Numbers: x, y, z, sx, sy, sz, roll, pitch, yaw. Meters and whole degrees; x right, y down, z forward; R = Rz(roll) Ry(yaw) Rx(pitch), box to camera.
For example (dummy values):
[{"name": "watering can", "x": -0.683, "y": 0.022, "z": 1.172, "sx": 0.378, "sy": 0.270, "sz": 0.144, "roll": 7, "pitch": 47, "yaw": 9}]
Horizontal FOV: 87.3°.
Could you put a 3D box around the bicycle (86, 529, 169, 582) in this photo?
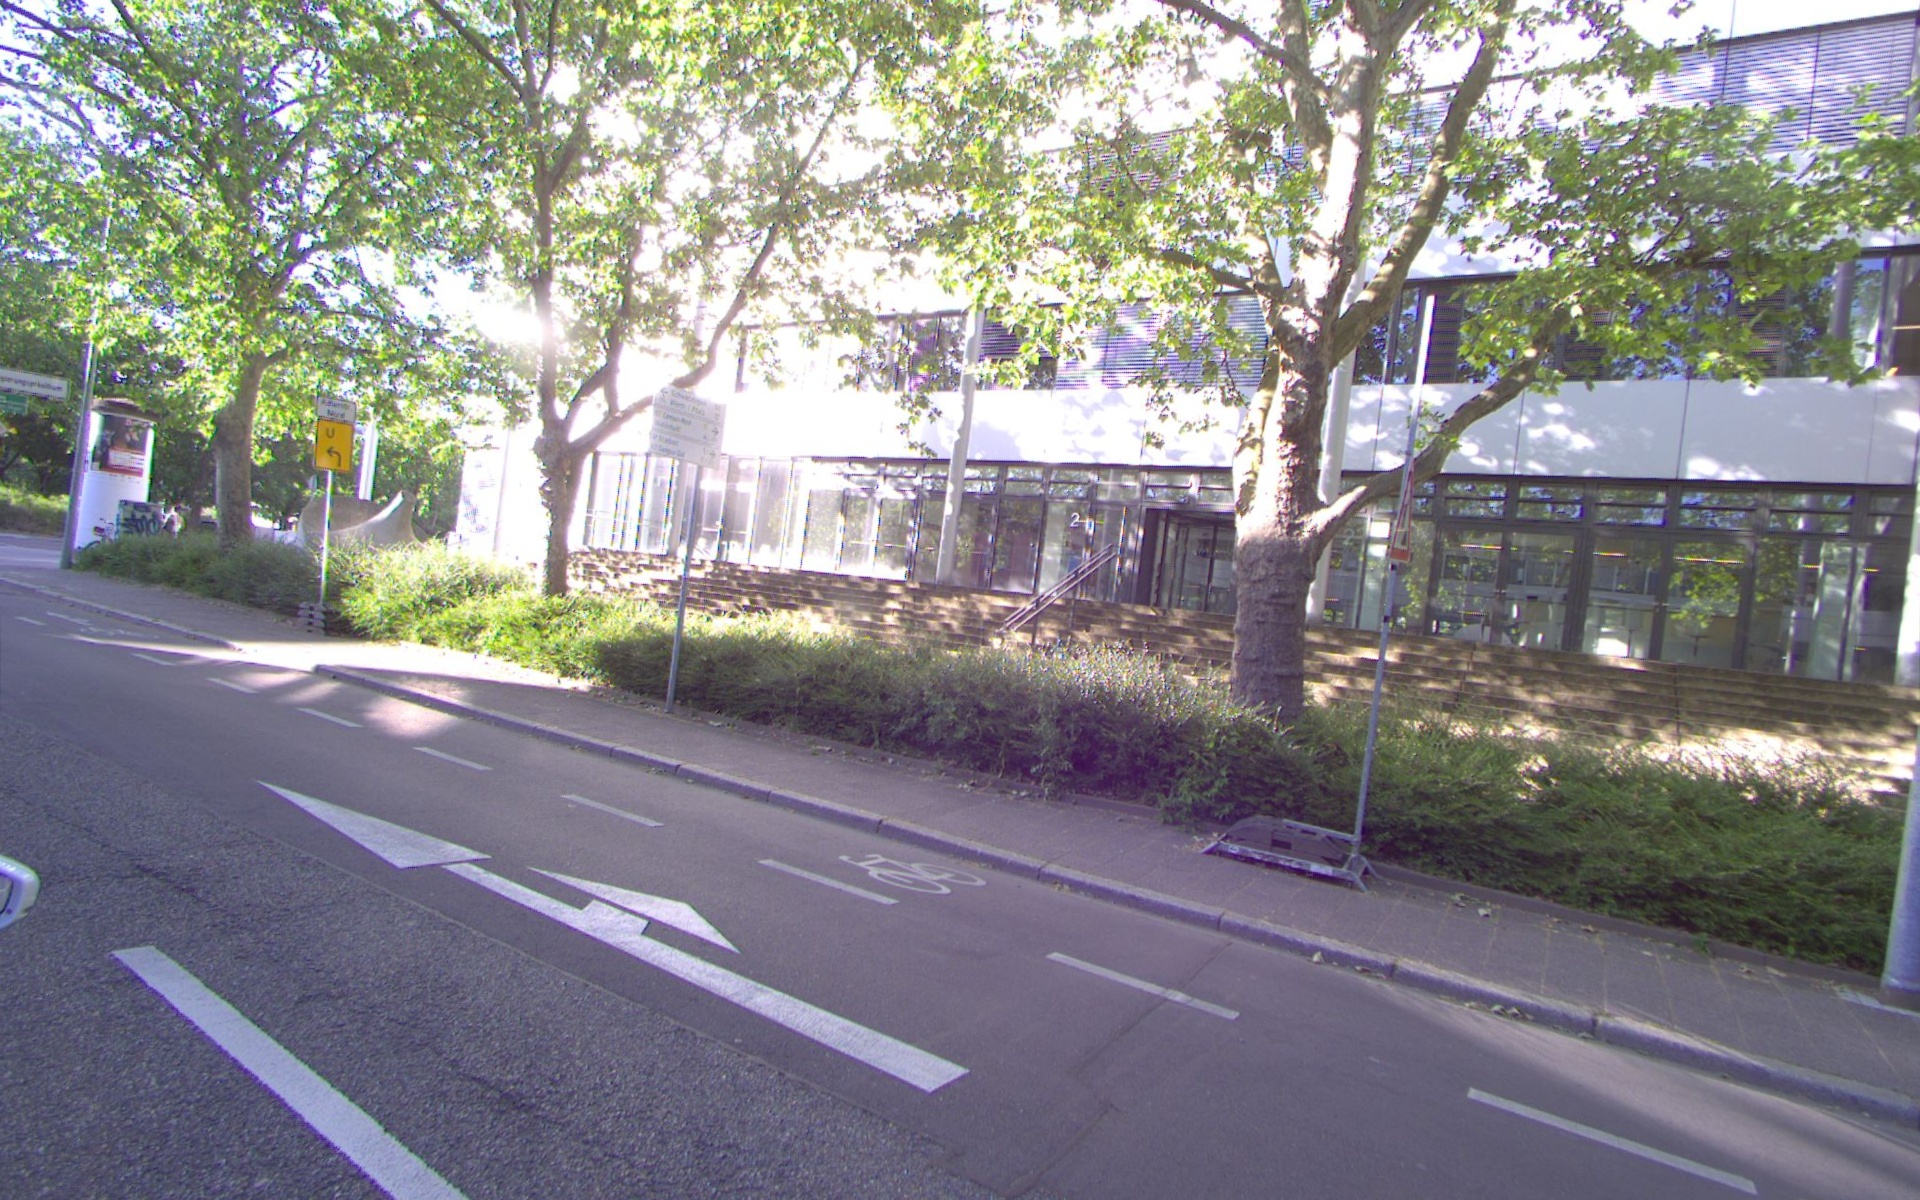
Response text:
[{"name": "bicycle", "x": -19.182, "y": -1.012, "z": 23.205, "sx": 0.357, "sy": 1.036, "sz": 1.354, "roll": 7, "pitch": -1, "yaw": 33}]

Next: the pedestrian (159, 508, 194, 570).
[{"name": "pedestrian", "x": -24.852, "y": -1.922, "z": 31.900, "sx": 0.584, "sy": 1.871, "sz": 0.552, "roll": 7, "pitch": 0, "yaw": 33}]
